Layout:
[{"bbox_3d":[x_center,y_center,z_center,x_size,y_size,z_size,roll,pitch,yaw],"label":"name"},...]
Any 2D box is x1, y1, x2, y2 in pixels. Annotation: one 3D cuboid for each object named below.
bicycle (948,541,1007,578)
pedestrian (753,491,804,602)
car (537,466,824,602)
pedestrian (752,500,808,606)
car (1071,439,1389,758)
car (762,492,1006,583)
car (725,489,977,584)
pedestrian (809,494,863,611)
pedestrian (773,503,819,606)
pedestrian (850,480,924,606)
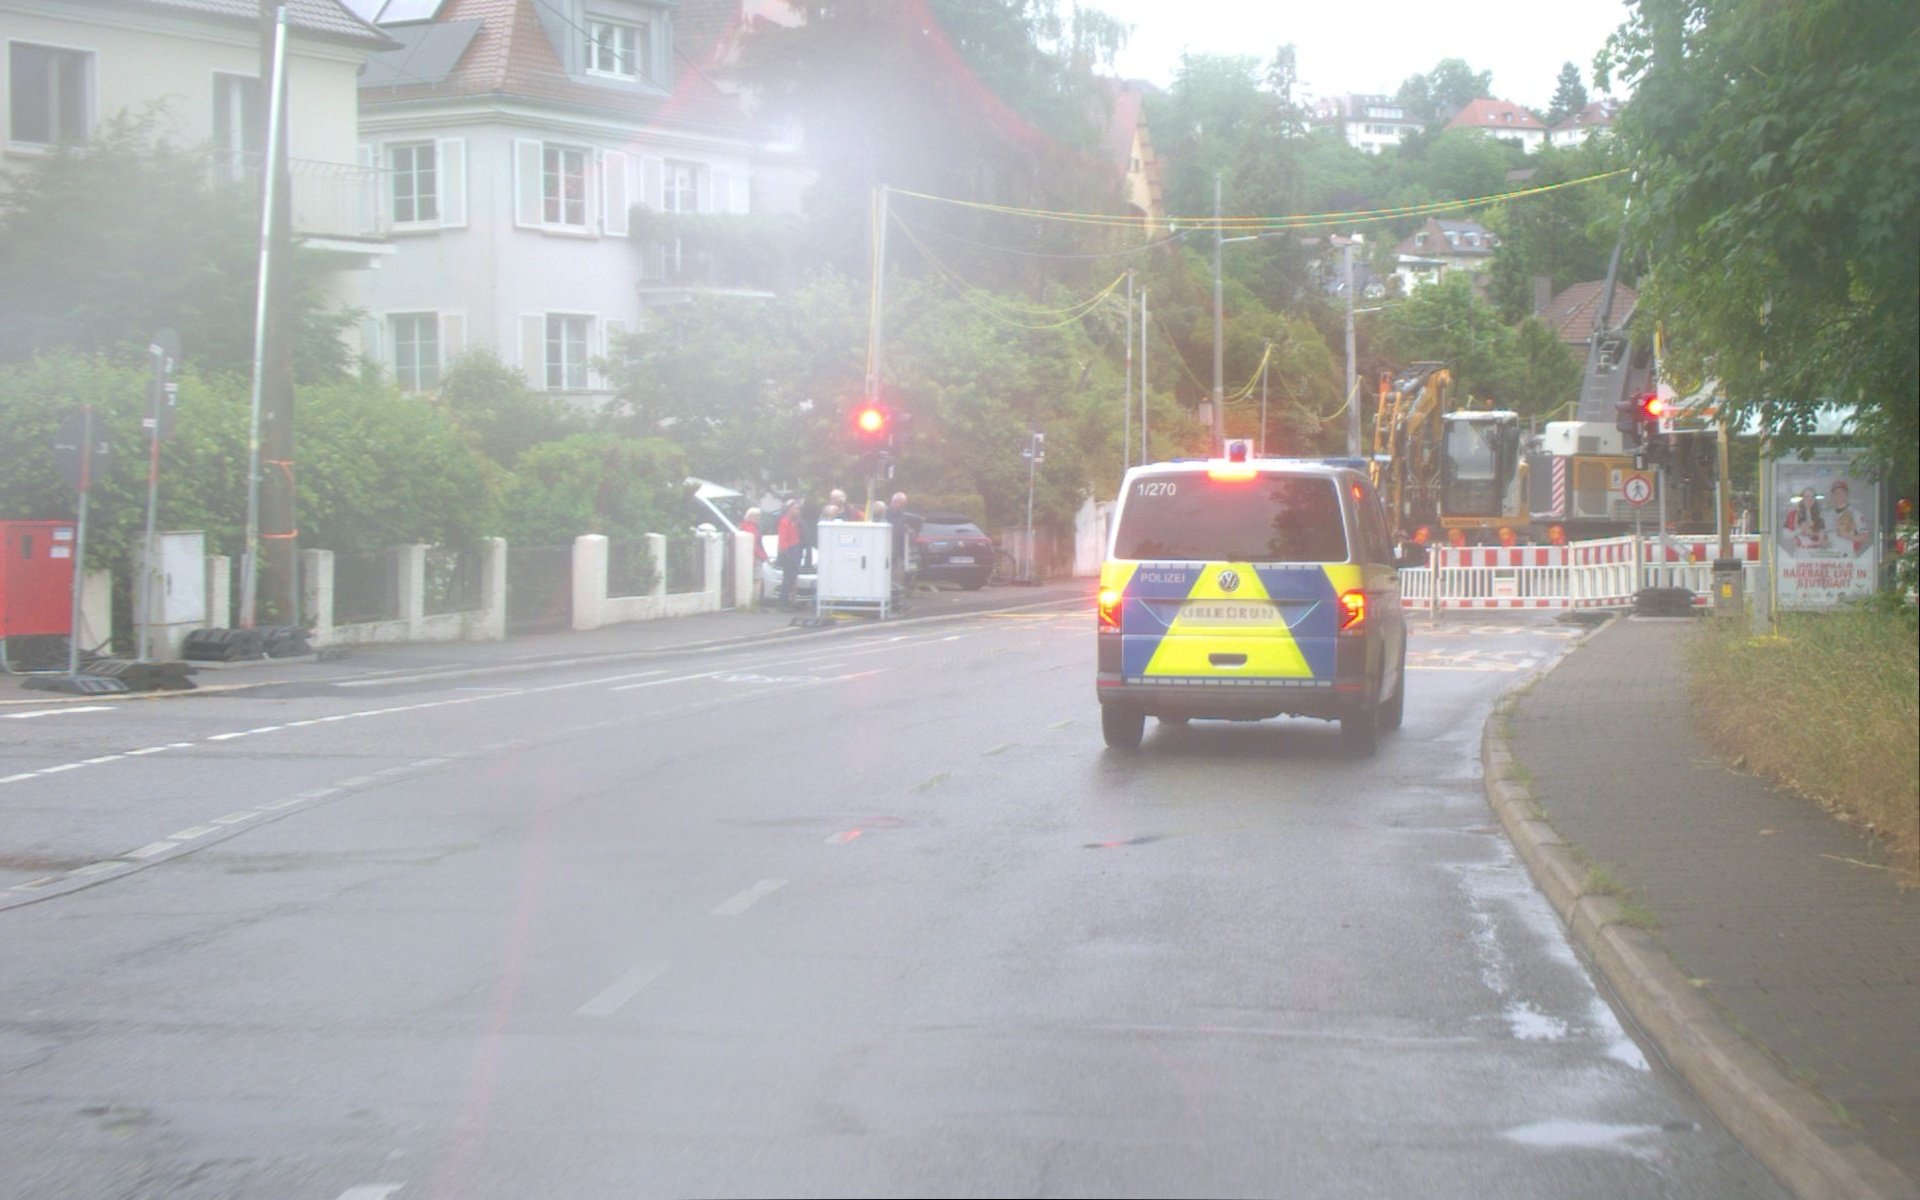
[{"bbox_3d":[0.329,-0.760,64.972,1.054,0.660,0.320,2,0,20],"label":"bicycle"},{"bbox_3d":[-2.609,-0.765,49.439,0.563,1.577,0.468,2,0,12],"label":"pedestrian"},{"bbox_3d":[-4.301,-1.027,52.974,3.991,2.007,1.828,1,1,21],"label":"car"},{"bbox_3d":[-2.630,-0.685,50.242,0.626,1.516,0.592,2,0,12],"label":"pedestrian"},{"bbox_3d":[1.976,-0.089,24.347,1.994,2.006,4.401,1,2,6],"label":"car"},{"bbox_3d":[-1.371,-1.129,62.197,3.991,1.481,1.758,2,0,21],"label":"car"},{"bbox_3d":[-1.902,-1.112,60.109,3.991,1.481,1.758,2,0,21],"label":"car"},{"bbox_3d":[-1.849,-0.707,51.328,0.626,1.709,0.592,2,0,12],"label":"pedestrian"},{"bbox_3d":[-2.424,-0.675,50.867,0.525,1.501,0.429,2,0,12],"label":"pedestrian"},{"bbox_3d":[-1.064,-0.826,50.195,0.890,1.781,0.828,2,0,9],"label":"pedestrian"}]
